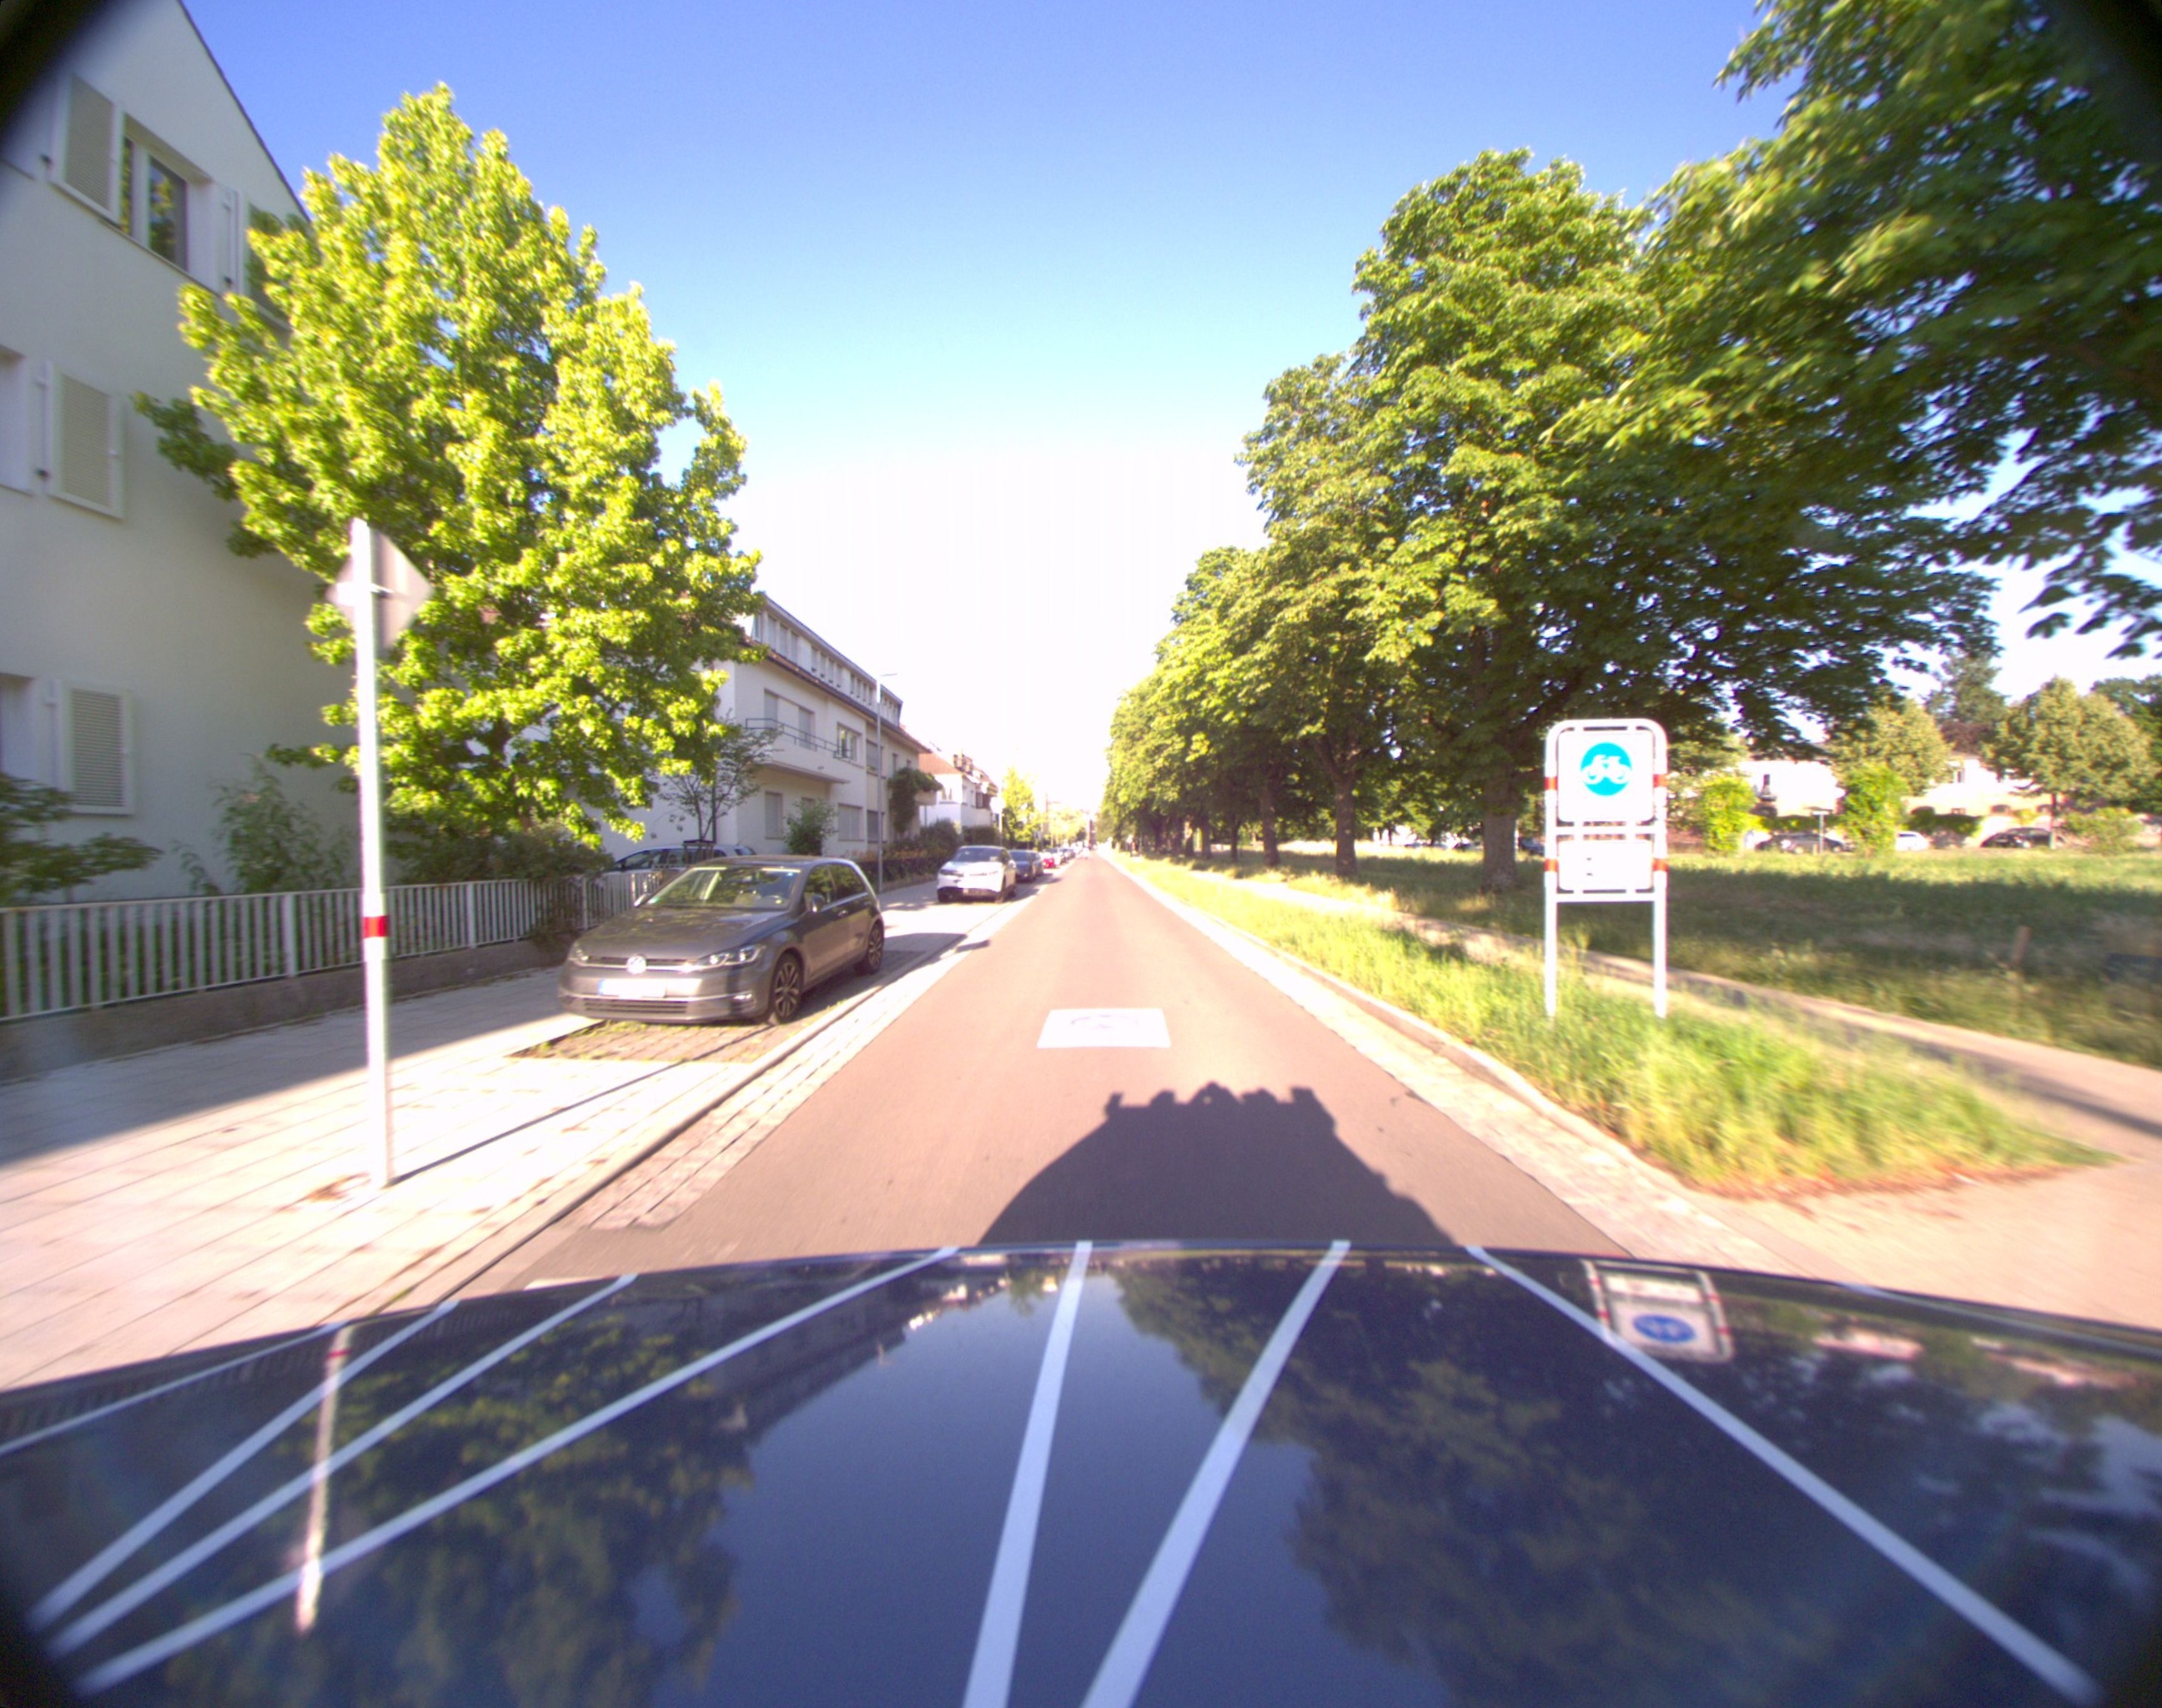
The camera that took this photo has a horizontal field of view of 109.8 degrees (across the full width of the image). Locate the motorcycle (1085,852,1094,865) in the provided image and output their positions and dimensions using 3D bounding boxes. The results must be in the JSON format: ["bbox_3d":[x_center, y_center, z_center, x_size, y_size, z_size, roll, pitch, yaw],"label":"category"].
[{"bbox_3d":[1.003,0.532,91.895,1.077,1.373,2.462,-2,2,0],"label":"motorcycle"}]

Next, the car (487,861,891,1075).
[{"bbox_3d":[-3.397,0.857,7.628,1.798,1.474,4.124,1,0,2],"label":"car"}]

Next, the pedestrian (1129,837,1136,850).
[{"bbox_3d":[6.551,-1.347,95.858,0.625,1.622,0.606,-1,3,27],"label":"pedestrian"}]

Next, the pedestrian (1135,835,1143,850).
[{"bbox_3d":[7.296,-1.486,95.581,0.625,1.841,0.606,0,3,40],"label":"pedestrian"}]

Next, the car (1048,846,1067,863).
[{"bbox_3d":[-2.012,0.031,66.246,1.508,1.472,3.492,0,1,1],"label":"car"}]

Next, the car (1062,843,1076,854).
[{"bbox_3d":[-1.751,-0.797,111.462,1.844,1.472,3.763,-1,1,3],"label":"car"}]

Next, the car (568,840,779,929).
[{"bbox_3d":[-9.622,0.684,18.223,3.994,1.834,1.814,-3,0,-5],"label":"car"}]

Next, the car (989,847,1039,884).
[{"bbox_3d":[-2.931,0.460,34.140,1.798,1.486,4.193,1,1,1],"label":"car"}]

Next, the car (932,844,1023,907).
[{"bbox_3d":[-2.991,0.560,22.920,1.910,1.698,4.575,1,1,2],"label":"car"}]

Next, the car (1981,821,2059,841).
[{"bbox_3d":[68.717,-1.702,55.616,3.636,1.273,1.586,-2,2,2],"label":"car"}]

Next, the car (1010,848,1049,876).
[{"bbox_3d":[-2.747,0.389,41.640,1.798,1.372,4.077,1,1,1],"label":"car"}]

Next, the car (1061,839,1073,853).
[{"bbox_3d":[-2.306,-1.399,128.679,1.844,2.196,3.763,-1,1,1],"label":"car"}]

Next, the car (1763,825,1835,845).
[{"bbox_3d":[51.517,-1.369,54.549,3.636,1.273,1.586,-2,2,2],"label":"car"}]

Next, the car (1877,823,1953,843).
[{"bbox_3d":[59.842,-1.500,54.589,3.636,1.273,1.586,-2,2,2],"label":"car"}]

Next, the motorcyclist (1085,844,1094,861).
[{"bbox_3d":[0.985,-0.239,91.690,0.961,2.002,1.273,-2,2,0],"label":"motorcyclist"}]

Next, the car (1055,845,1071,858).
[{"bbox_3d":[-2.168,-0.294,91.232,1.665,1.527,3.832,0,2,2],"label":"car"}]

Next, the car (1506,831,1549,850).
[{"bbox_3d":[37.745,-1.189,64.310,1.585,1.473,3.639,-2,2,2],"label":"car"}]

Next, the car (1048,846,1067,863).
[{"bbox_3d":[-2.304,0.028,74.803,1.745,1.472,4.056,-1,1,0],"label":"car"}]

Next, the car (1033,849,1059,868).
[{"bbox_3d":[-2.517,0.314,55.957,1.702,1.250,3.878,0,2,1],"label":"car"}]
